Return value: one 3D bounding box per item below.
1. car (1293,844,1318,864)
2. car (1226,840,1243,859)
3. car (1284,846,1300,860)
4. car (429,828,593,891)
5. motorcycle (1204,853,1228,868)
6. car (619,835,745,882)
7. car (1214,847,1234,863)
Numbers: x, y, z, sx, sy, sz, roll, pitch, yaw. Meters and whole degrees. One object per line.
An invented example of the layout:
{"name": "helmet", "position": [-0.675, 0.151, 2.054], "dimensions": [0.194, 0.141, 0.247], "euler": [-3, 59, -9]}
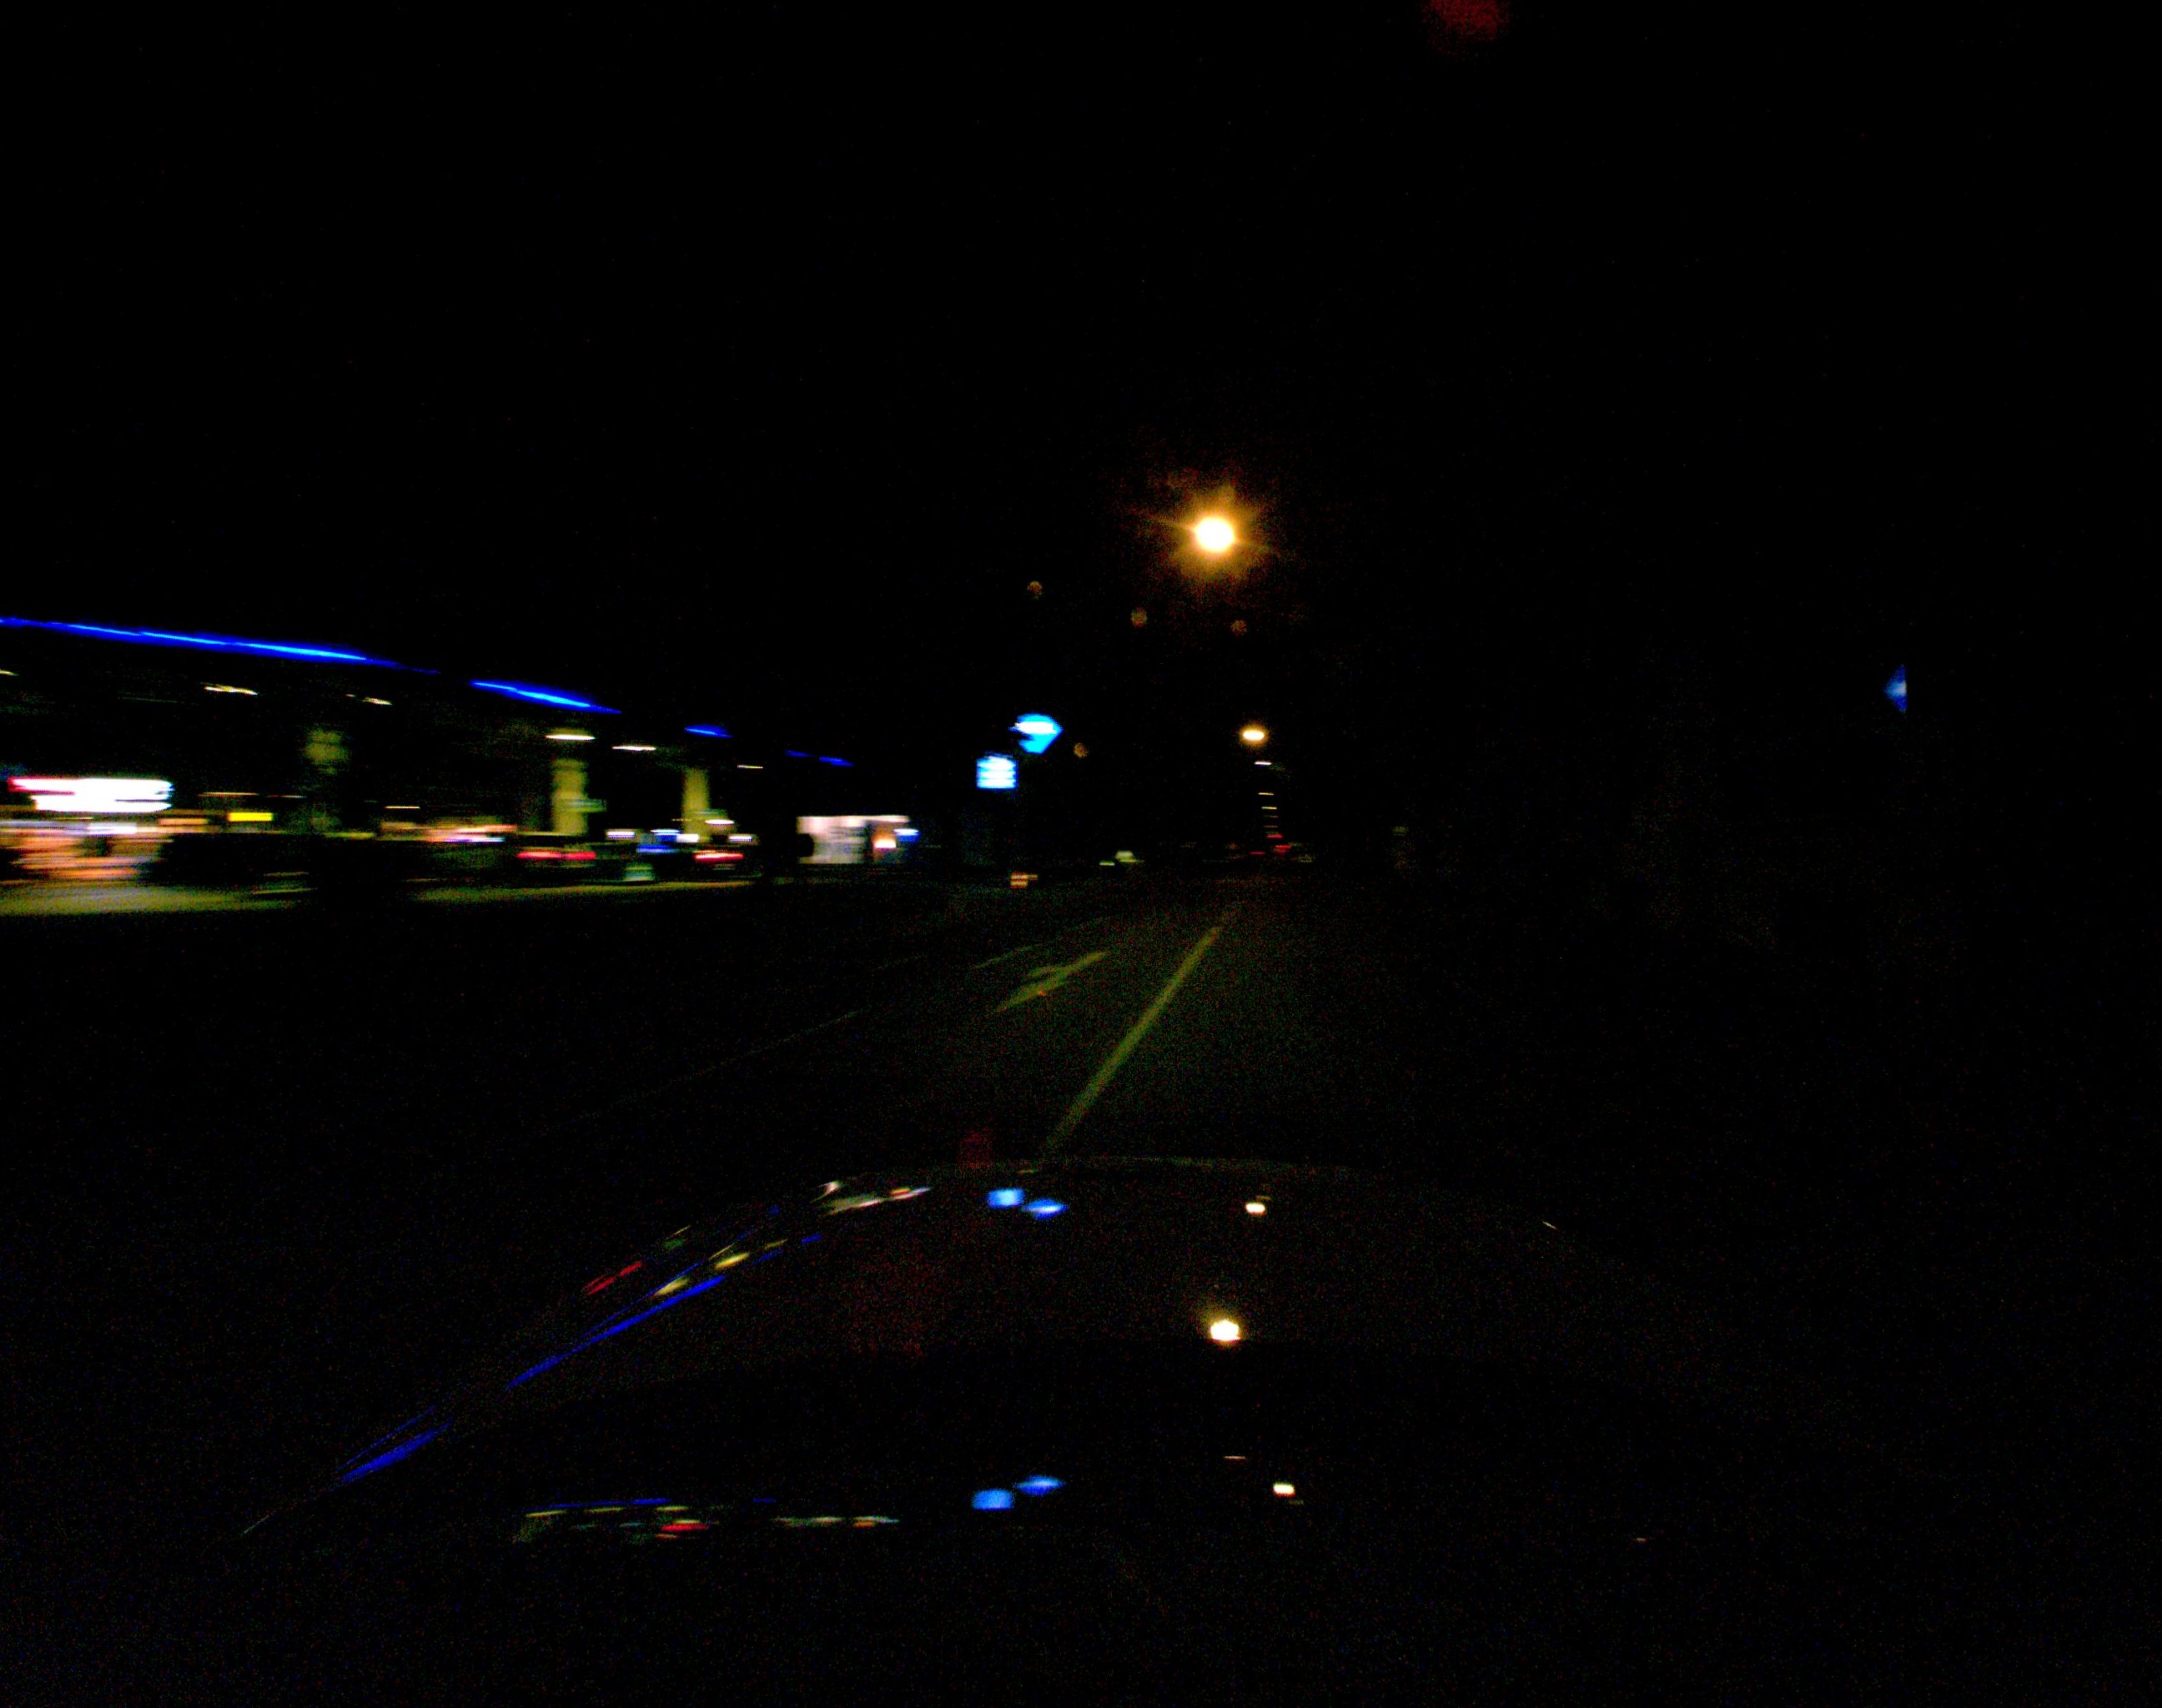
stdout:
{"name": "car", "position": [22.941, 0.019, 83.325], "dimensions": [1.982, 2.014, 4.010], "euler": [-1, -1, 9]}
{"name": "car", "position": [20.891, -0.600, 110.778], "dimensions": [1.980, 2.415, 4.500], "euler": [-1, -1, 13]}
{"name": "car", "position": [32.421, -0.109, 124.956], "dimensions": [1.982, 2.014, 4.010], "euler": [-1, -1, 9]}
{"name": "car", "position": [-18.178, 0.152, 26.030], "dimensions": [4.205, 1.769, 2.009], "euler": [2, 0, 16]}
{"name": "motorcycle", "position": [12.345, 0.587, 74.433], "dimensions": [2.019, 1.392, 0.872], "euler": [-1, -1, -16]}
{"name": "car", "position": [-15.574, 0.156, 31.871], "dimensions": [3.962, 1.663, 2.006], "euler": [2, 0, 11]}
{"name": "car", "position": [16.704, 0.111, 95.033], "dimensions": [1.979, 1.843, 4.015], "euler": [-1, -1, 14]}
